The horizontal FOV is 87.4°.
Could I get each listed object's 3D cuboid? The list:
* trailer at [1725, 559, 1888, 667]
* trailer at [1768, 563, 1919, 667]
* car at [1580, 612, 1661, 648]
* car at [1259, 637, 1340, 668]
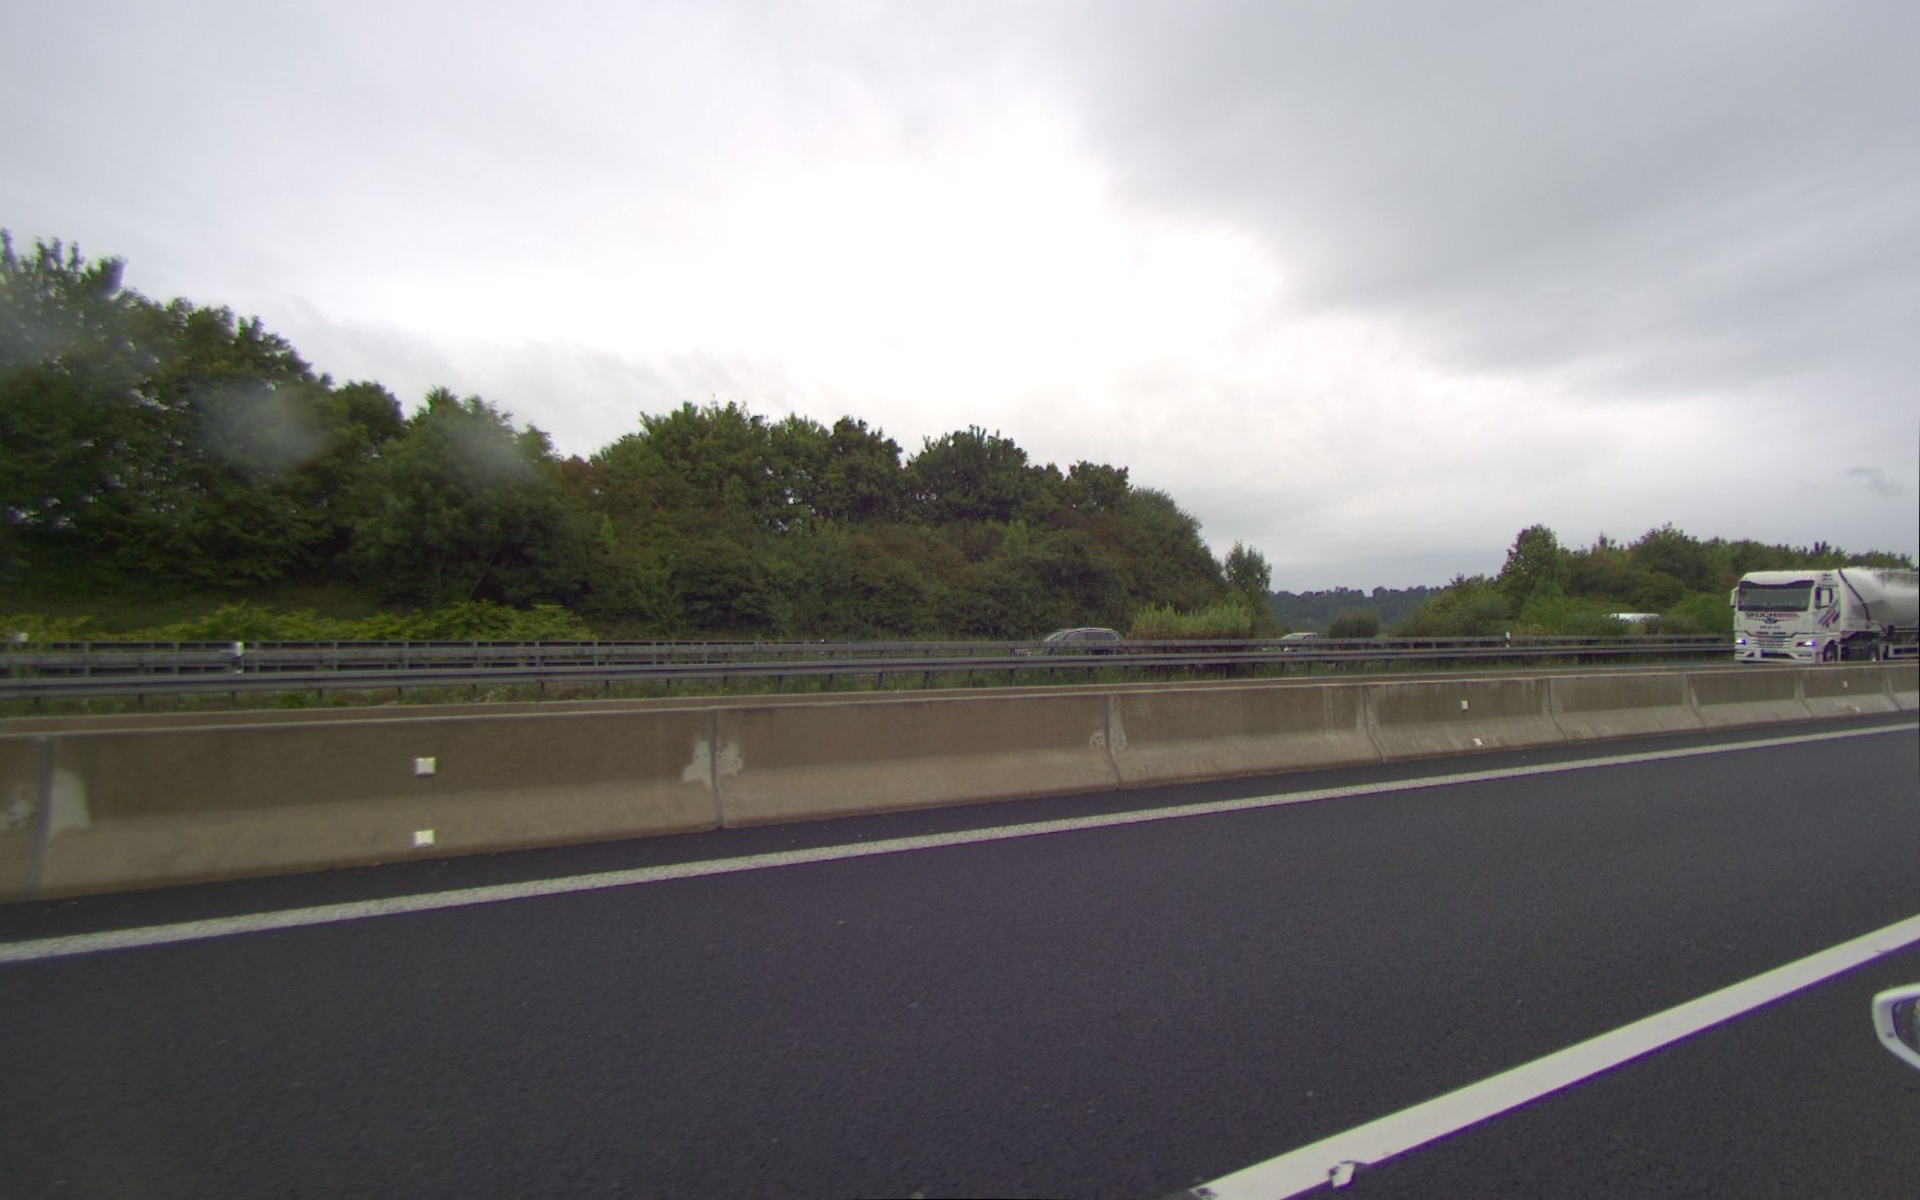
[{"bbox_3d":[31.719,0.538,37.586,6.414,3.765,2.625,2,-1,-30],"label":"trailer"},{"bbox_3d":[36.479,0.682,40.272,10.682,3.786,2.624,2,-1,-30],"label":"trailer"},{"bbox_3d":[38.621,1.748,58.704,5.237,2.040,1.865,2,-1,-30],"label":"car"},{"bbox_3d":[17.030,2.606,50.343,3.954,1.475,1.667,2,-1,-31],"label":"car"}]
